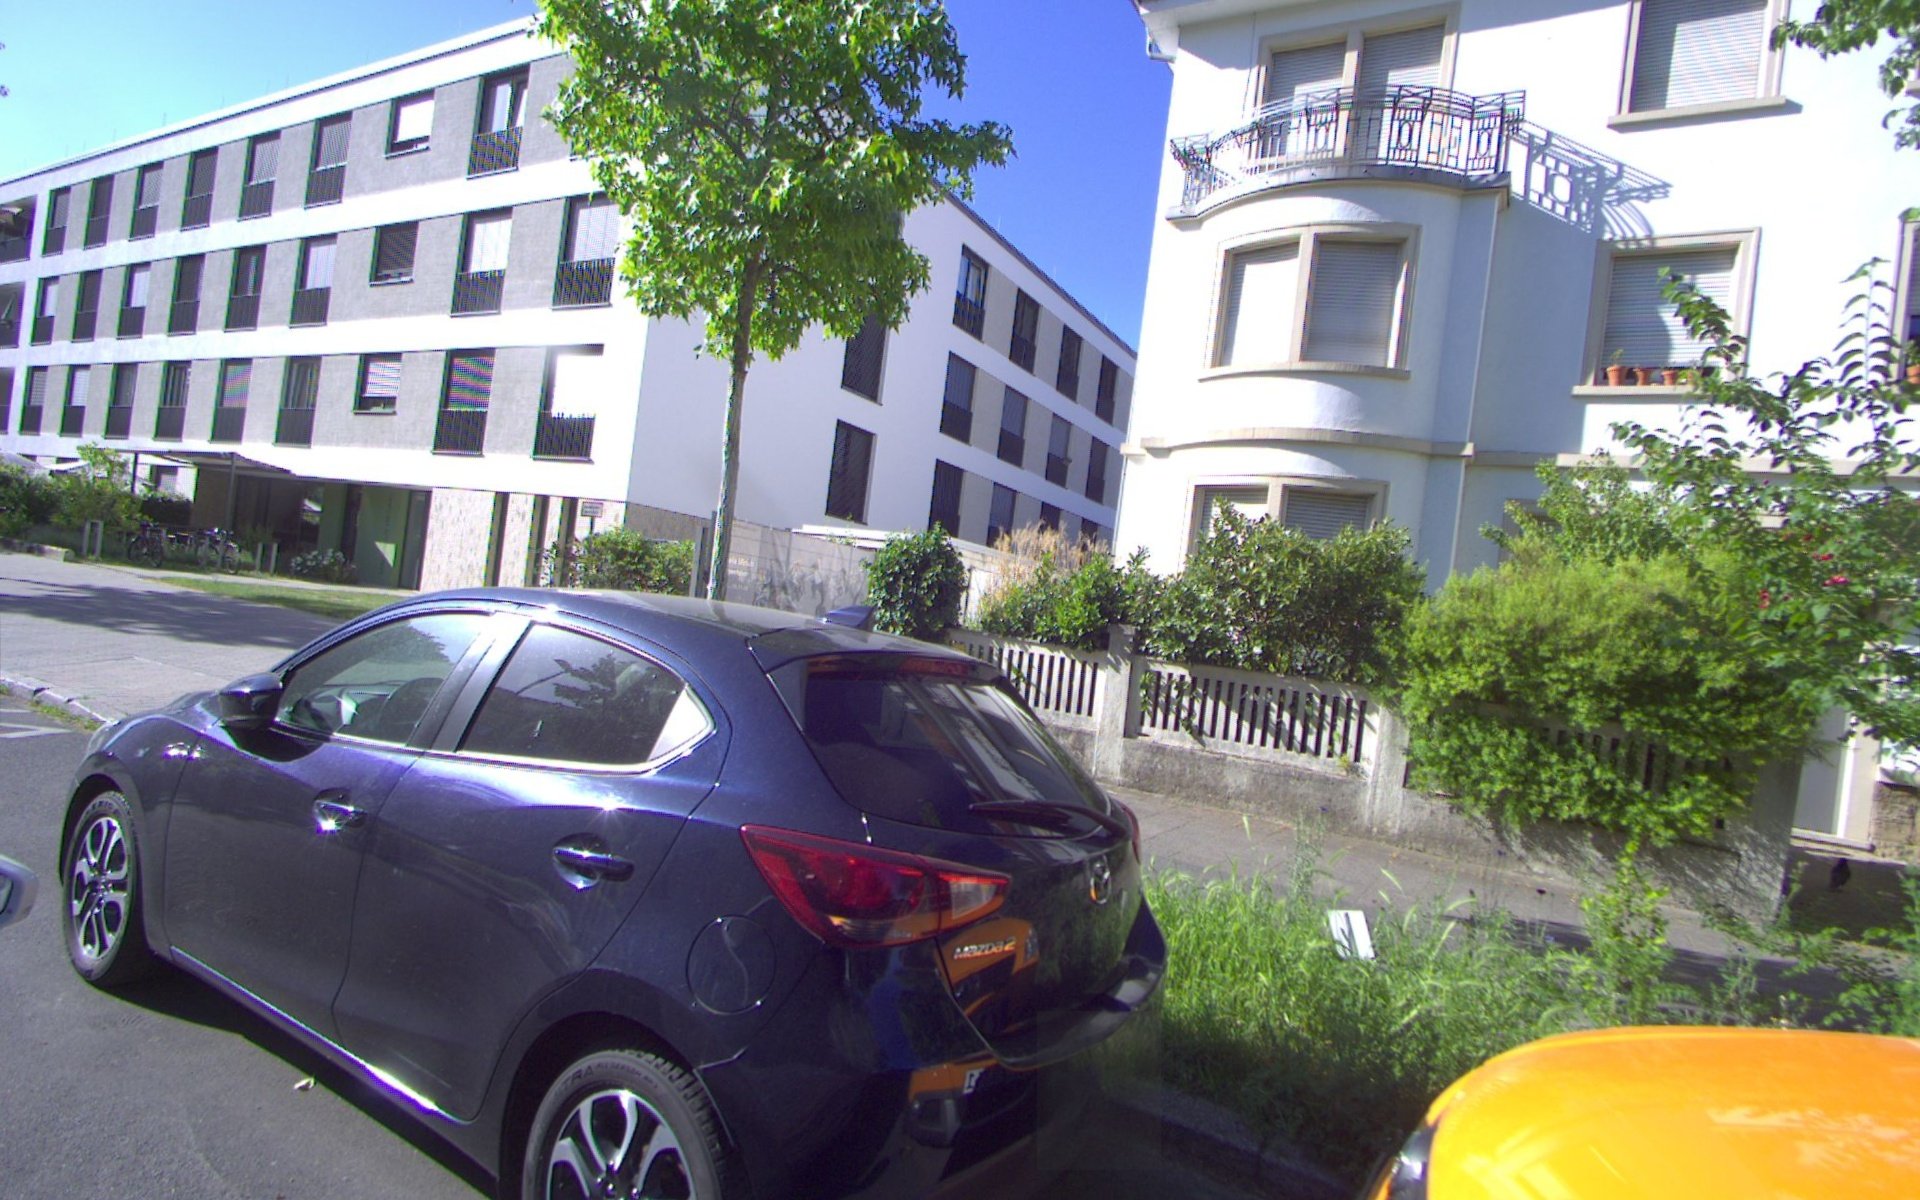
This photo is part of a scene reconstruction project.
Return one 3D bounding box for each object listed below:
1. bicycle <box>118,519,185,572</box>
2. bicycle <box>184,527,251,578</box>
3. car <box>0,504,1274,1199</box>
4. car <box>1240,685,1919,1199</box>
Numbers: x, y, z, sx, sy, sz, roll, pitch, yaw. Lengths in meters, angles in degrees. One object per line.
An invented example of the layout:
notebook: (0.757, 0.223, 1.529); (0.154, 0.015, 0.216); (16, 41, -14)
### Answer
bicycle: (-18.921, -1.282, 23.549); (1.662, 1.068, 0.547); (7, 1, 28)
bicycle: (-18.274, -1.182, 24.749); (1.749, 1.068, 0.547); (7, 1, 28)
car: (-1.293, 0.654, 3.277); (4.014, 1.467, 1.703); (7, 0, 31)
car: (2.390, 1.089, 0.726); (4.030, 1.472, 1.639); (7, 0, 30)
